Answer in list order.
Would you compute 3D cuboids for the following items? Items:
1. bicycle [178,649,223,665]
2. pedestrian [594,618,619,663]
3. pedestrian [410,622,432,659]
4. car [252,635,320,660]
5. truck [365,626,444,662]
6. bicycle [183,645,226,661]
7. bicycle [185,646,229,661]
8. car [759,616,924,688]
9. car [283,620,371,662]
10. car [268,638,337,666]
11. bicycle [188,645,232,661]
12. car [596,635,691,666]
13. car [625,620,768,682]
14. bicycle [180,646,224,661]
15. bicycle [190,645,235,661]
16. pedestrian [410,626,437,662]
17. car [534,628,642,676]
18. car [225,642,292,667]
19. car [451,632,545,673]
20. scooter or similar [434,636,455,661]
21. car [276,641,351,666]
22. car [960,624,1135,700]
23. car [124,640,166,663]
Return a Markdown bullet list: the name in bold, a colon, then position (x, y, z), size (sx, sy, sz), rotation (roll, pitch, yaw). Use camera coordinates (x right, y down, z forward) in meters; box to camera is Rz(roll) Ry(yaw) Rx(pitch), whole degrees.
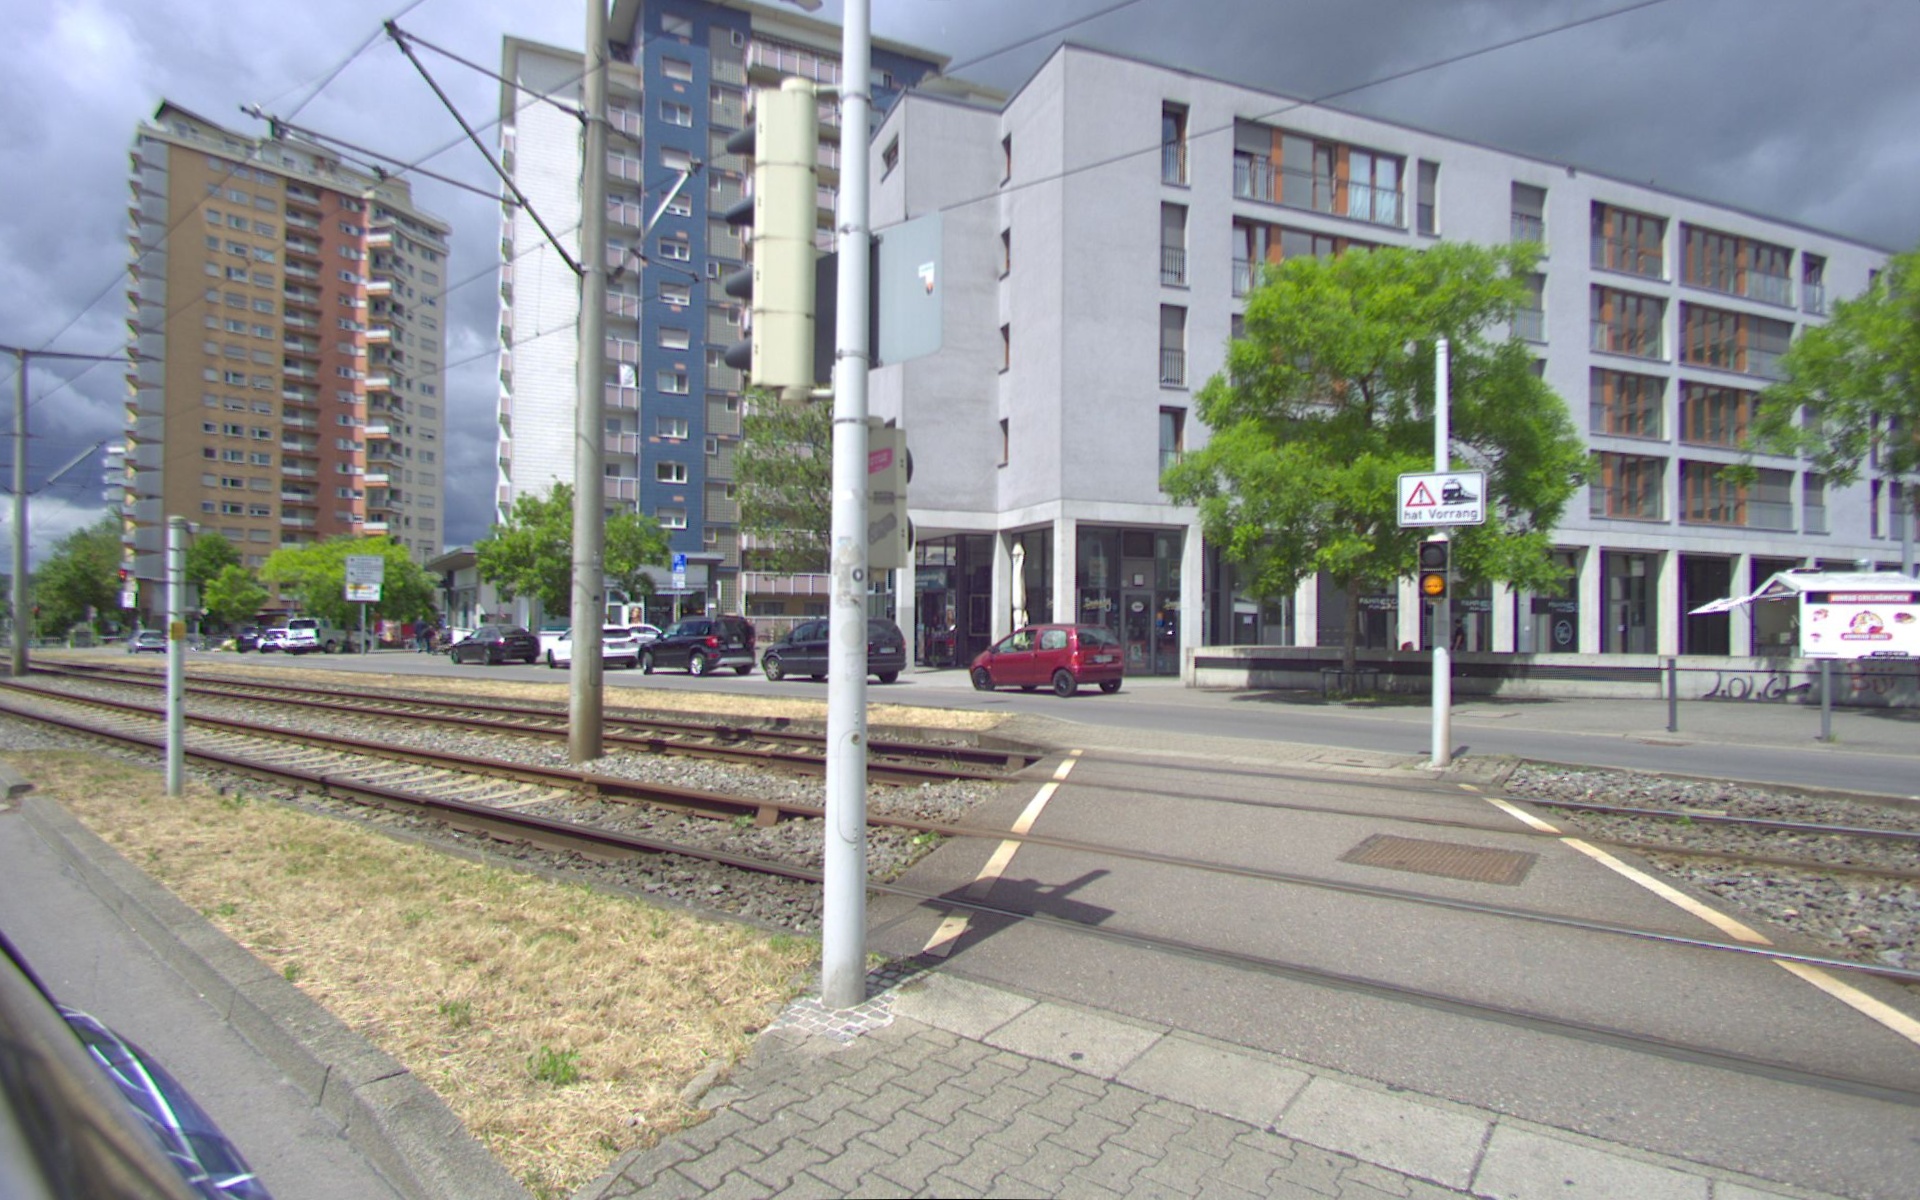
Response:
- **bicycle**: position (-52.031, 3.909, 69.369), size (0.717, 1.042, 2.401), rotation (-3, -2, 41)
- **pedestrian**: position (-14.406, 1.671, 41.287), size (0.843, 1.806, 0.605), rotation (-3, -4, 40)
- **pedestrian**: position (-26.590, 2.002, 49.896), size (0.829, 1.806, 0.876), rotation (2, -4, -35)
- **car**: position (-42.268, 2.984, 63.555), size (1.723, 1.508, 3.765), rotation (0, -3, 1)
- **truck**: position (-59.243, 4.761, 108.082), size (6.991, 3.703, 2.549), rotation (3, -4, -42)
- **bicycle**: position (-54.370, 3.817, 72.842), size (0.704, 1.074, 2.401), rotation (-3, -4, 41)
- **bicycle**: position (-53.737, 3.801, 72.256), size (0.704, 1.074, 2.401), rotation (-3, -4, 41)
- **car**: position (-3.044, 1.322, 25.478), size (4.100, 1.660, 1.971), rotation (-3, -4, 43)
- **car**: position (-34.623, 2.268, 55.523), size (1.879, 2.173, 4.762), rotation (0, -3, -1)
- **car**: position (-40.128, 3.160, 61.910), size (1.877, 1.644, 4.004), rotation (0, -3, -5)
- **bicycle**: position (-53.179, 3.771, 71.756), size (0.704, 1.074, 2.401), rotation (-3, -4, 41)
- **car**: position (-15.316, 2.449, 49.219), size (4.283, 1.454, 2.005), rotation (0, -3, -14)
- **car**: position (-7.685, 1.472, 29.390), size (4.094, 1.675, 1.974), rotation (-3, -2, 39)
- **bicycle**: position (-54.952, 3.850, 73.388), size (0.704, 1.074, 2.401), rotation (-3, -4, 41)
- **bicycle**: position (-52.610, 3.741, 71.258), size (0.704, 1.074, 2.401), rotation (-3, -4, 41)
- **pedestrian**: position (-24.745, 2.028, 46.681), size (0.969, 1.584, 0.517), rotation (0, -5, -17)
- **car**: position (-12.447, 1.739, 33.733), size (1.733, 1.486, 4.403), rotation (3, -4, -44)
- **car**: position (-45.838, 3.562, 66.223), size (1.903, 1.604, 4.005), rotation (0, -3, -6)
- **car**: position (-17.551, 1.963, 38.337), size (4.380, 1.439, 1.715), rotation (-3, -2, 43)
- **scooter or similar**: position (-23.902, 2.245, 46.922), size (0.756, 1.133, 0.582), rotation (0, -5, -16)
- **car**: position (-37.835, 3.121, 59.337), size (1.879, 1.394, 4.000), rotation (0, -3, -1)
- **car**: position (1.745, 1.267, 20.905), size (1.594, 1.437, 3.426), rotation (3, -4, -43)
- **car**: position (-56.190, 3.589, 69.754), size (3.756, 1.544, 1.797), rotation (-3, -4, 45)
